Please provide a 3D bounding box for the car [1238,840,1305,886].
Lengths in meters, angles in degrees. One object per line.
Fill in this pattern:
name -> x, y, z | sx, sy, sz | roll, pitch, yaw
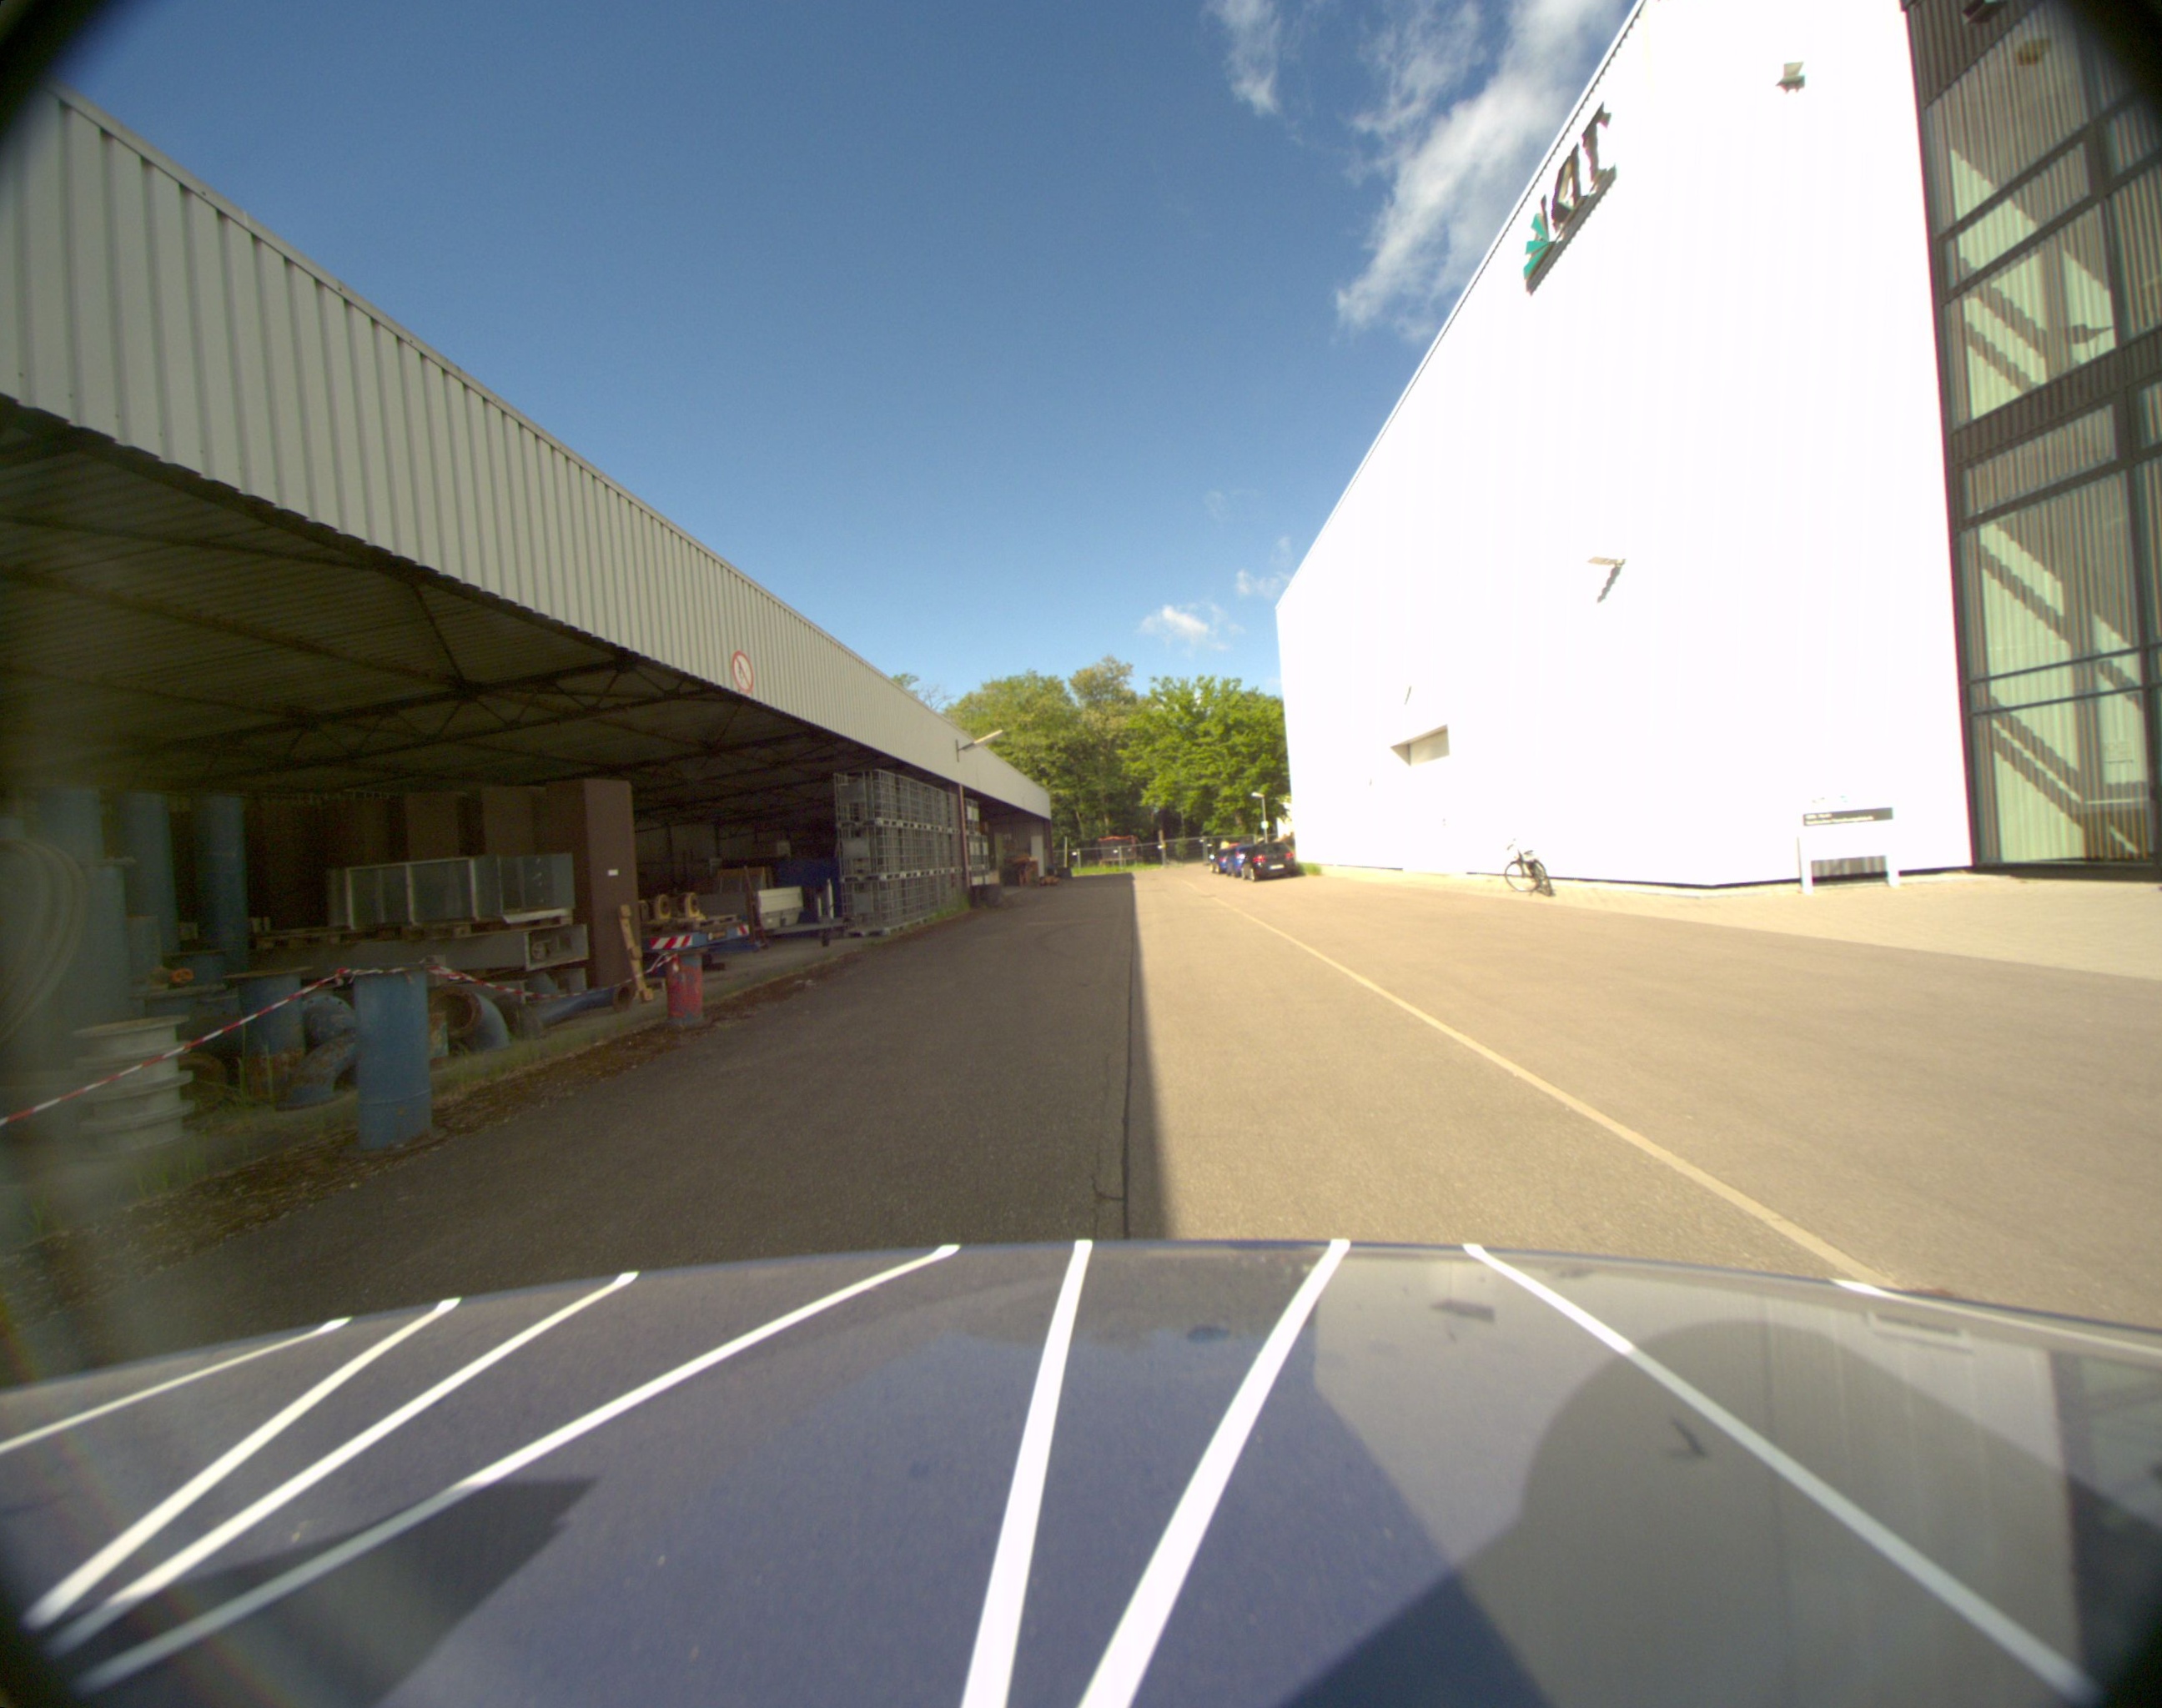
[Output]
car -> 7.605, 0.325, 30.689 | 1.894, 1.513, 4.001 | -7, 0, 6

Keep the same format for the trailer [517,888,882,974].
trailer -> -6.981, 1.404, 14.329 | 5.836, 1.113, 2.030 | -3, 0, 3

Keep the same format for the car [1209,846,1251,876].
car -> 8.076, 0.338, 41.437 | 1.789, 1.431, 4.001 | -3, 0, 6

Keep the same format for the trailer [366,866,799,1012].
trailer -> -6.932, 1.143, 10.967 | 4.878, 1.619, 2.029 | -3, 0, 3

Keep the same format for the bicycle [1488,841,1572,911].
bicycle -> 8.610, 0.389, 14.668 | 0.909, 1.136, 1.901 | -7, 0, 19

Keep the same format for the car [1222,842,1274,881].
car -> 7.820, 0.324, 35.938 | 1.789, 1.513, 4.001 | -7, 0, 6
